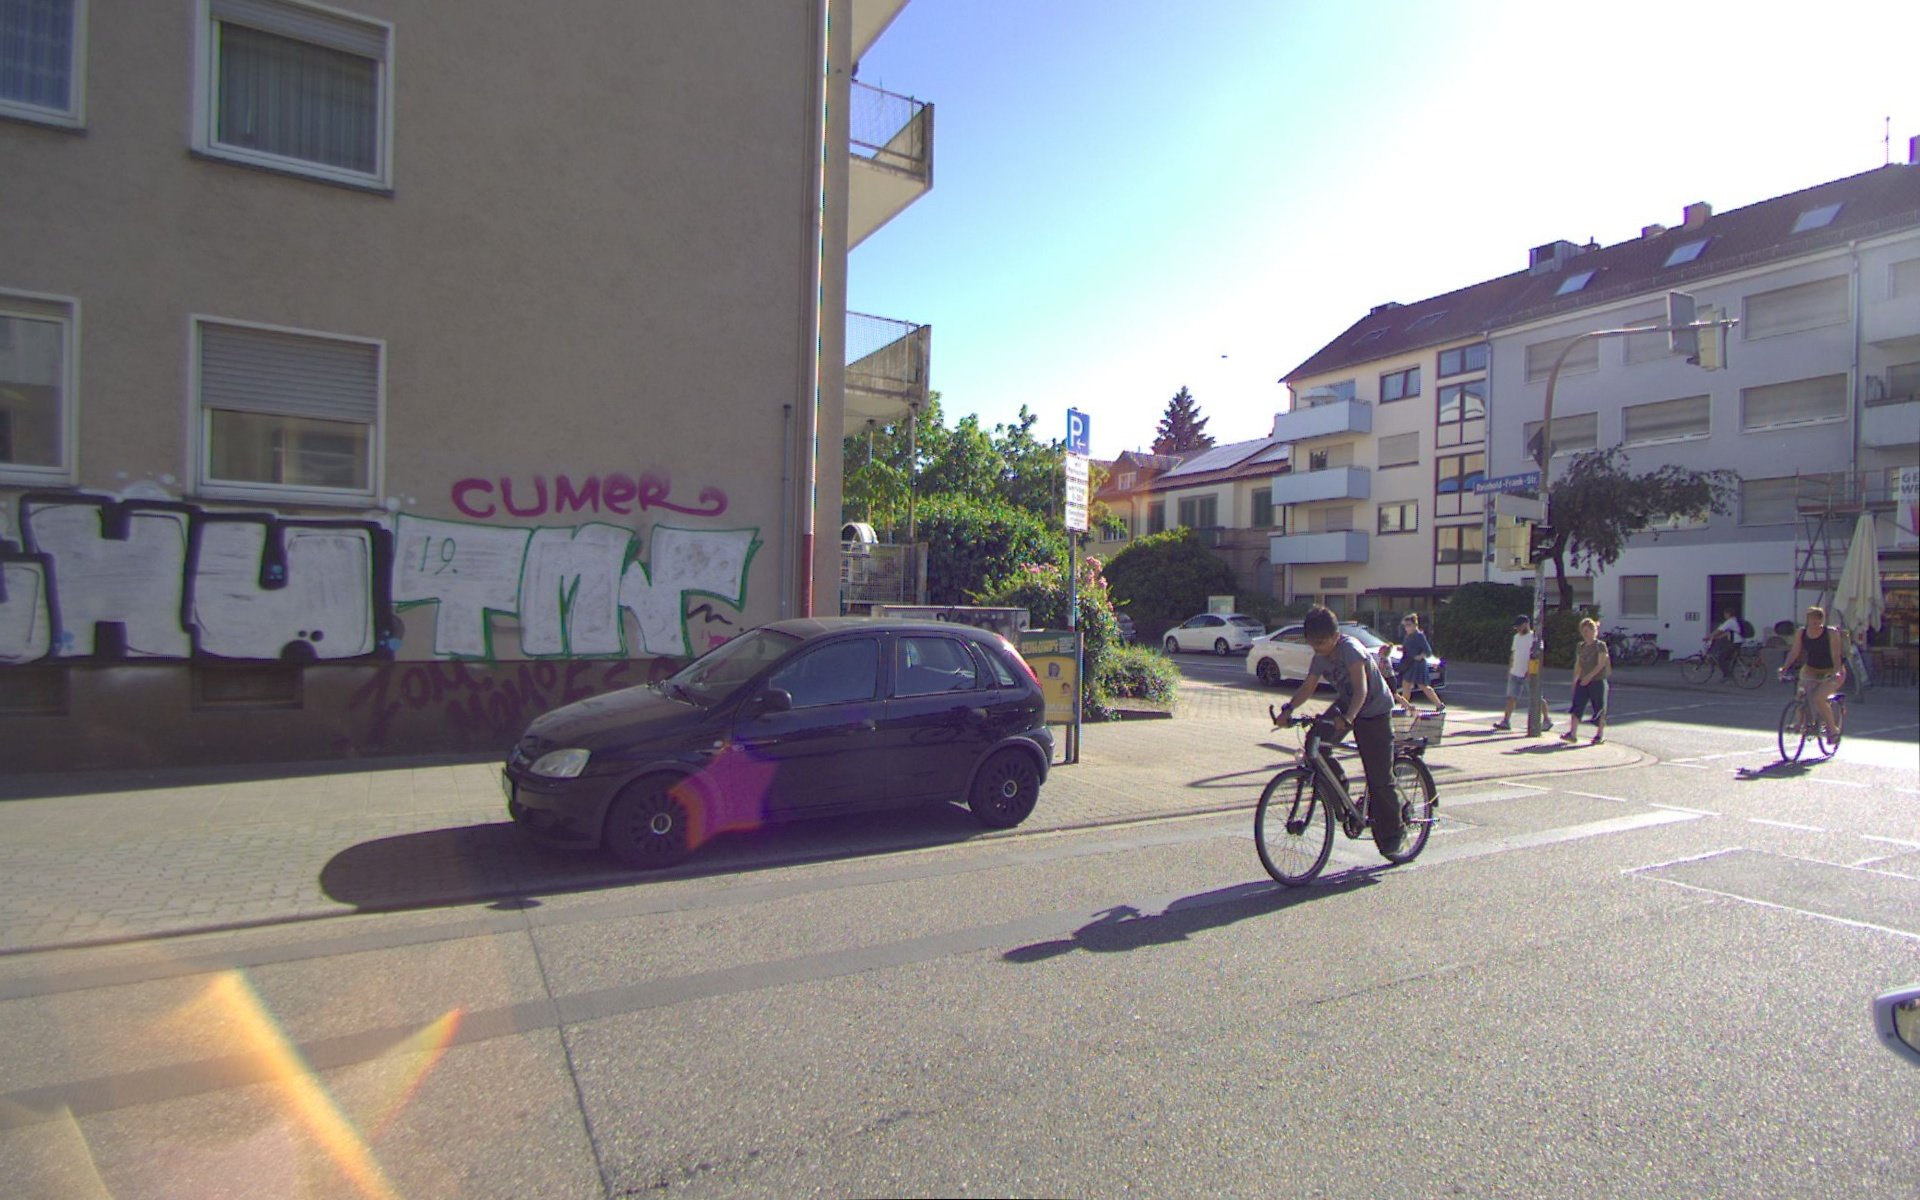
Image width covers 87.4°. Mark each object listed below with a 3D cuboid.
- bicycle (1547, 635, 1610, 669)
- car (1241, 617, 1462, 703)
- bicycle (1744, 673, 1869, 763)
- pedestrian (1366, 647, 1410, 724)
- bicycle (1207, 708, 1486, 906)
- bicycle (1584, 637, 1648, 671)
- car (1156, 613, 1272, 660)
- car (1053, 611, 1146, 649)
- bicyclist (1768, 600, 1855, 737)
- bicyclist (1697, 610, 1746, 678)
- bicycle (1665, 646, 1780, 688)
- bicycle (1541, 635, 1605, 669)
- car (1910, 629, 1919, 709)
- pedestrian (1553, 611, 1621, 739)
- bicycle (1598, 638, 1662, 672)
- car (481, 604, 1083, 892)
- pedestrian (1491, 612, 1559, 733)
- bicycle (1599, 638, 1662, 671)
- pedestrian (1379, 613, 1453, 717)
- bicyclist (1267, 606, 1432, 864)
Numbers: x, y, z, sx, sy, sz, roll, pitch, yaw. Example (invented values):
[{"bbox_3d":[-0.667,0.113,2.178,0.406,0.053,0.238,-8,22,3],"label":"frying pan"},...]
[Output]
[{"bbox_3d":[18.639,1.550,30.310,0.506,0.952,1.583,1,-1,-27],"label":"bicycle"},{"bbox_3d":[8.257,1.183,21.572,1.909,1.455,4.237,-3,2,-27],"label":"car"},{"bbox_3d":[9.857,1.340,11.683,1.805,0.914,0.540,1,0,-30],"label":"bicycle"},{"bbox_3d":[6.666,1.322,15.662,0.521,1.161,0.387,1,0,7],"label":"pedestrian"},{"bbox_3d":[2.320,1.158,5.943,1.805,0.914,0.540,1,0,-31],"label":"bicycle"},{"bbox_3d":[19.647,1.617,30.116,0.506,0.952,1.583,1,-1,-27],"label":"bicycle"},{"bbox_3d":[9.117,1.271,36.364,1.893,1.539,3.968,0,0,-30],"label":"car"},{"bbox_3d":[5.817,1.207,42.312,1.893,1.449,3.968,-2,1,-30],"label":"car"},{"bbox_3d":[9.940,0.782,11.730,0.765,1.541,0.540,1,0,-30],"label":"bicyclist"},{"bbox_3d":[18.119,1.037,23.897,0.550,1.569,0.805,1,0,-40],"label":"bicyclist"},{"bbox_3d":[18.107,1.567,23.895,0.550,0.845,2.107,1,0,-40],"label":"bicycle"},{"bbox_3d":[18.190,1.521,29.835,0.506,0.952,1.583,1,-1,-27],"label":"bicycle"},{"bbox_3d":[19.540,1.287,17.441,4.091,1.453,1.844,1,-1,9],"label":"car"},{"bbox_3d":[8.120,0.954,13.010,0.556,1.602,0.529,1,0,-29],"label":"pedestrian"},{"bbox_3d":[20.339,1.647,30.511,0.506,0.952,1.583,1,-1,-27],"label":"bicycle"},{"bbox_3d":[-1.177,0.830,7.075,3.813,1.468,1.682,1,2,-32],"label":"car"},{"bbox_3d":[8.231,1.031,14.643,0.660,1.711,0.571,1,0,-24],"label":"pedestrian"},{"bbox_3d":[20.771,1.663,31.150,0.506,0.952,1.583,1,-1,-27],"label":"bicycle"},{"bbox_3d":[7.603,1.076,16.776,0.950,1.705,0.574,1,0,-8],"label":"pedestrian"},{"bbox_3d":[2.299,0.748,5.935,0.779,1.409,0.540,1,0,-31],"label":"bicyclist"}]
